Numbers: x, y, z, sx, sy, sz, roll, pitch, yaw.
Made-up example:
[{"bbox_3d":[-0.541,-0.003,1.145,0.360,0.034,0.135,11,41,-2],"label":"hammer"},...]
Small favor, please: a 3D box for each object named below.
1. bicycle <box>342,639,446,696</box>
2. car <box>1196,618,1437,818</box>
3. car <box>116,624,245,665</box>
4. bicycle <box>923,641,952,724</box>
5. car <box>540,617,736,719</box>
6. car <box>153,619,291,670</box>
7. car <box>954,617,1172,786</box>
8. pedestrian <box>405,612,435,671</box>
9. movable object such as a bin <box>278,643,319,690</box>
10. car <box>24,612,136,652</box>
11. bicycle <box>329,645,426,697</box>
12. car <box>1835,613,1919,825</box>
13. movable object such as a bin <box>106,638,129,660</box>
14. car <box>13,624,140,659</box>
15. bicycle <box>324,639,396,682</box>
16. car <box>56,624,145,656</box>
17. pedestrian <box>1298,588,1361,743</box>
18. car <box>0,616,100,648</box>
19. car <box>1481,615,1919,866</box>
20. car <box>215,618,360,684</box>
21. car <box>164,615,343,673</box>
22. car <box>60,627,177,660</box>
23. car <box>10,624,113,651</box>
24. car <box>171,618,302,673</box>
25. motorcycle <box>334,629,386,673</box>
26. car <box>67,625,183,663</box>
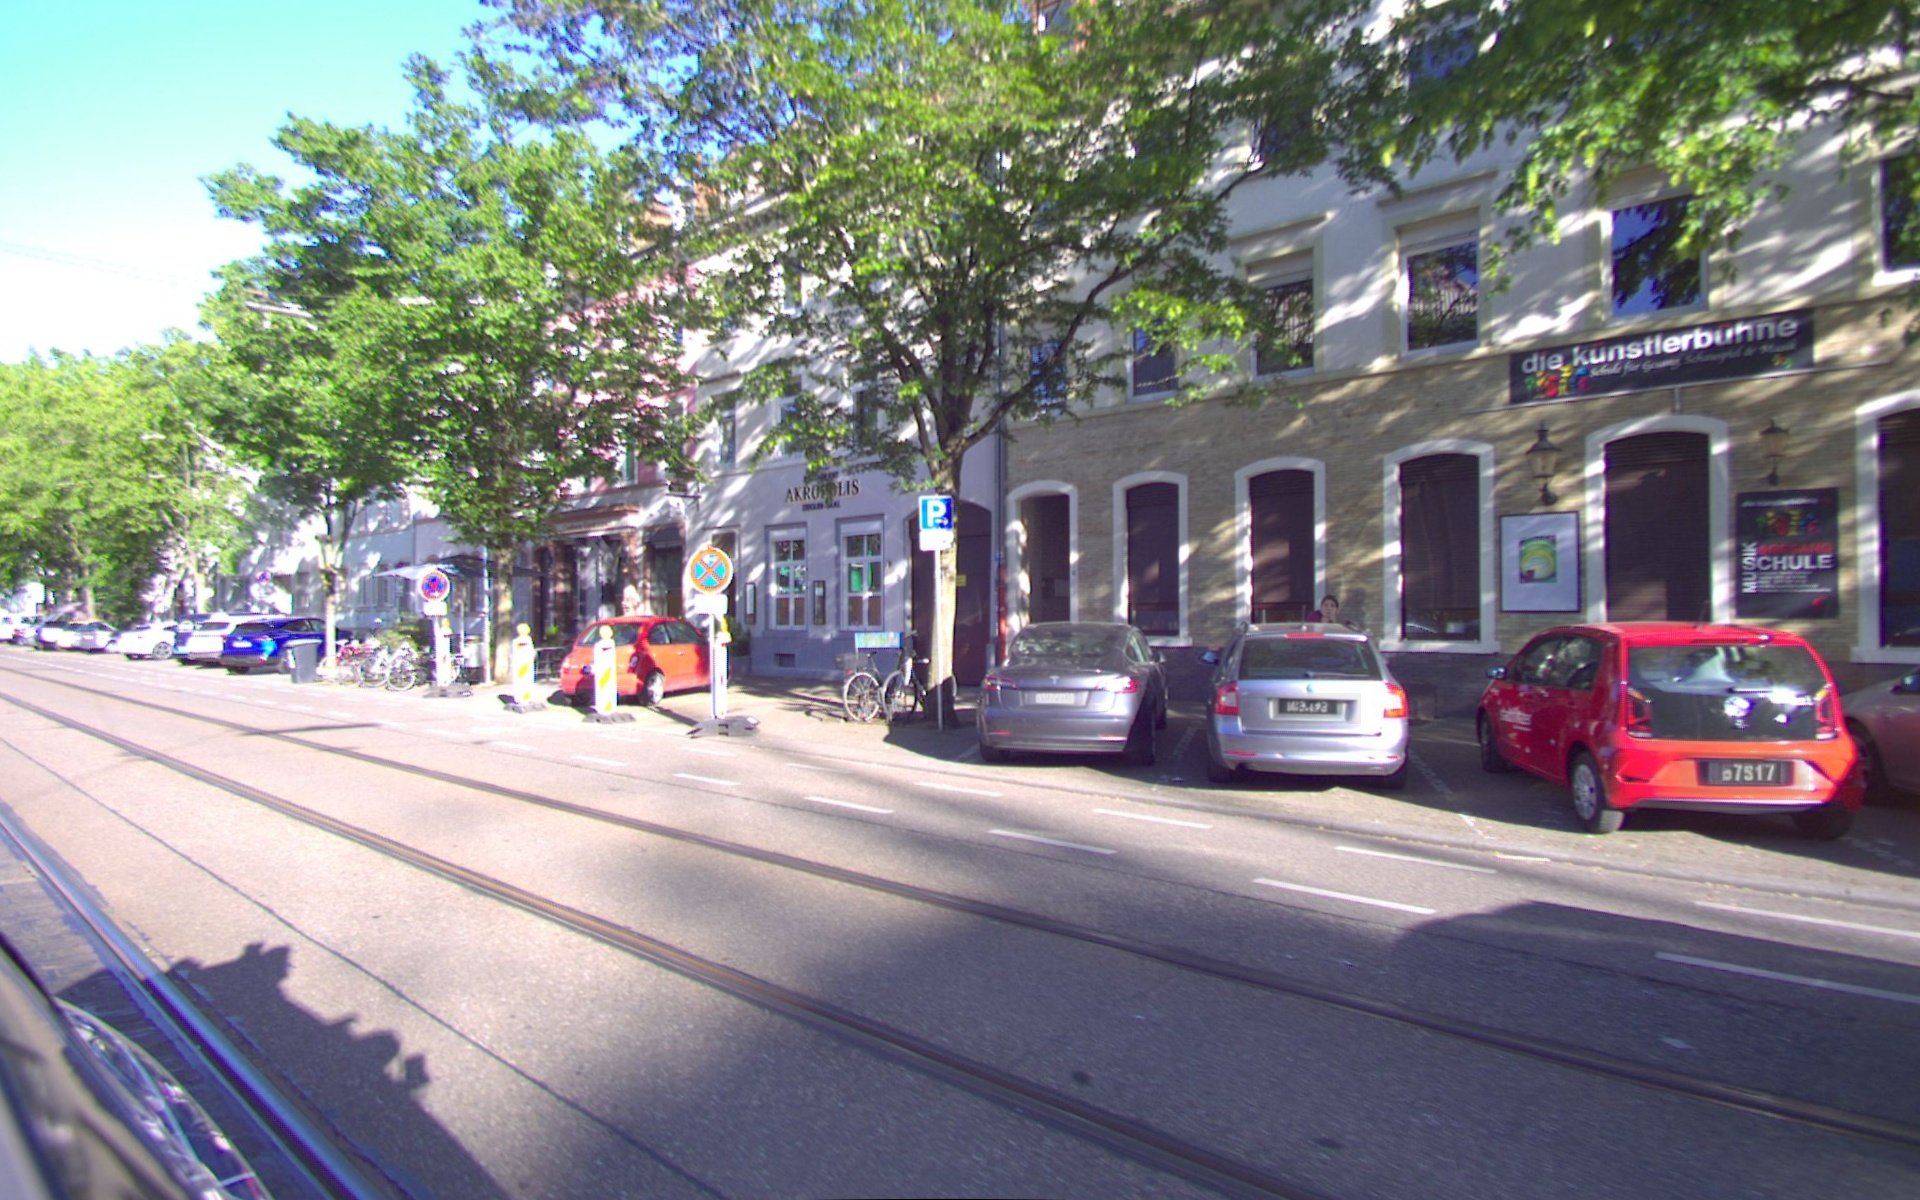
[{"bbox_3d":[-13.111,1.537,23.506,0.567,1.095,1.981,-2,2,43],"label":"bicycle"},{"bbox_3d":[3.247,0.961,9.892,1.735,1.481,3.670,-1,0,12],"label":"car"},{"bbox_3d":[-31.039,1.742,40.409,1.873,1.541,3.621,0,-2,21],"label":"car"},{"bbox_3d":[-0.331,1.125,14.226,0.328,1.104,1.595,1,-2,-4],"label":"bicycle"},{"bbox_3d":[-5.639,1.137,18.189,1.653,1.565,3.607,-2,-1,15],"label":"car"},{"bbox_3d":[-27.688,1.643,38.130,1.792,1.669,3.984,-2,0,13],"label":"car"},{"bbox_3d":[1.379,0.993,11.669,1.925,1.502,4.184,-1,0,14],"label":"car"},{"bbox_3d":[-17.331,1.325,32.489,0.624,1.852,0.636,-2,-3,42],"label":"pedestrian"},{"bbox_3d":[-16.400,1.644,25.089,0.710,1.086,0.676,-2,0,42],"label":"movable object such as a bin"},{"bbox_3d":[-48.736,1.737,56.101,2.161,2.134,4.393,-1,-2,39],"label":"car"},{"bbox_3d":[-14.047,1.684,24.447,0.568,1.087,1.946,-2,0,43],"label":"bicycle"},{"bbox_3d":[7.616,0.858,6.123,1.823,1.524,4.098,-1,0,14],"label":"car"},{"bbox_3d":[-37.766,2.211,45.361,0.669,0.952,0.615,-1,-5,40],"label":"movable object such as a bin"},{"bbox_3d":[-46.787,2.159,53.695,2.161,1.737,4.781,-1,-2,39],"label":"car"},{"bbox_3d":[-15.245,1.520,25.733,0.387,0.995,1.588,-2,-1,30],"label":"bicycle"},{"bbox_3d":[-44.053,2.043,51.932,1.369,1.565,3.364,0,-2,10],"label":"car"},{"bbox_3d":[5.025,0.871,13.768,0.556,2.029,0.723,-2,-3,42],"label":"pedestrian"},{"bbox_3d":[-60.426,2.102,66.962,2.062,2.029,4.901,-1,-2,23],"label":"car"},{"bbox_3d":[5.554,0.918,8.121,1.597,1.504,3.360,-2,0,13],"label":"car"},{"bbox_3d":[-20.140,1.467,30.492,1.553,1.621,3.898,0,2,4],"label":"car"},{"bbox_3d":[-23.777,1.455,34.351,2.184,1.808,4.926,0,-2,9],"label":"car"},{"bbox_3d":[-41.630,2.159,50.169,1.693,1.564,4.136,-1,-3,25],"label":"car"},{"bbox_3d":[-57.028,2.351,64.311,1.951,1.588,4.652,-2,-1,36],"label":"car"},{"bbox_3d":[-25.686,1.617,36.072,1.719,1.857,3.424,-1,-2,19],"label":"car"},{"bbox_3d":[-18.087,1.537,30.563,0.714,1.263,2.607,1,-3,-16],"label":"motorcycle"},{"bbox_3d":[-39.721,2.067,48.252,1.690,1.689,3.972,-1,-1,21],"label":"car"}]
